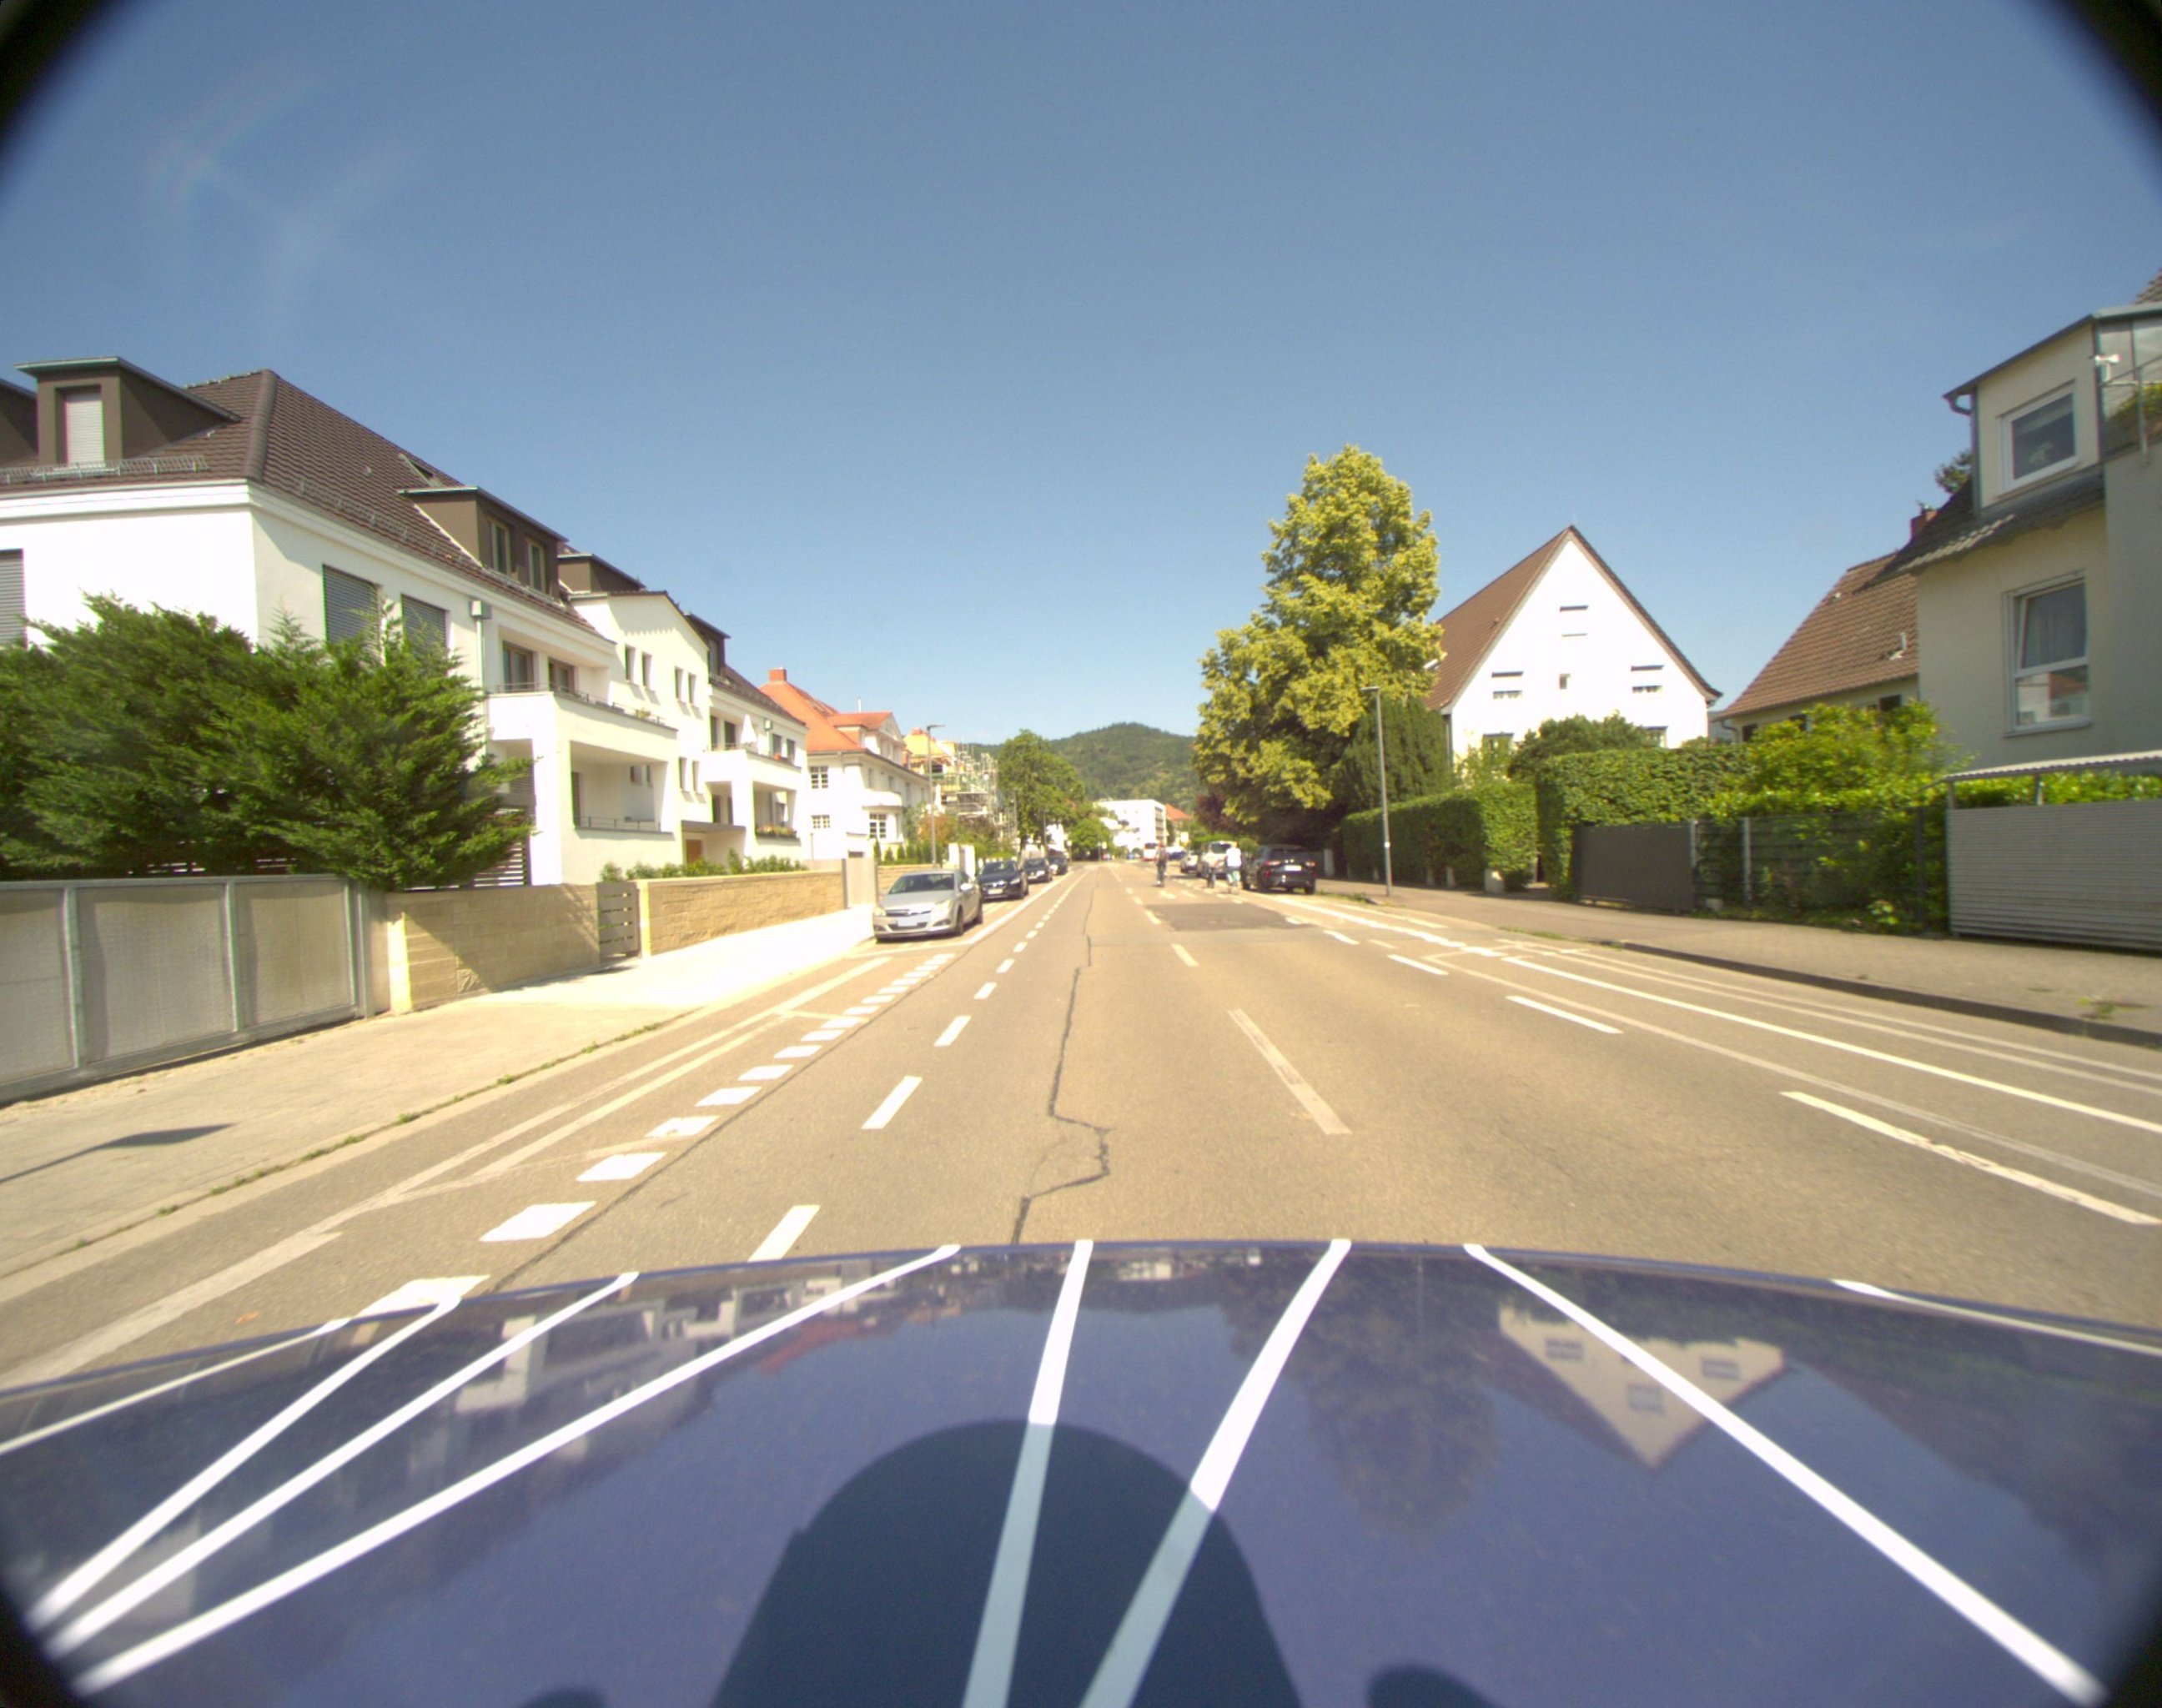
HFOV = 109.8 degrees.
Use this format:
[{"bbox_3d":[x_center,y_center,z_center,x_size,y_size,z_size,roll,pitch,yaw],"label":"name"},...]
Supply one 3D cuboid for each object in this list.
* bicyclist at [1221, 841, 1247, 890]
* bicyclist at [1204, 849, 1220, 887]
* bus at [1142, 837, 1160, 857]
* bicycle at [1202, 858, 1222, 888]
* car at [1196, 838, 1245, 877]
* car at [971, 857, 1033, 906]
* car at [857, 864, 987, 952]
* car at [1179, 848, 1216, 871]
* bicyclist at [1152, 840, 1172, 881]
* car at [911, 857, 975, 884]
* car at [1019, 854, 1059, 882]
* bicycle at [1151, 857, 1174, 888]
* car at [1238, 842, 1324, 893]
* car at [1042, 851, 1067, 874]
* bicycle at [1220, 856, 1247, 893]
[{"bbox_3d":[5.076,0.369,25.307,0.677,1.571,0.859,1,1,2],"label":"bicyclist"},{"bbox_3d":[5.118,0.537,29.703,0.491,1.445,0.964,0,1,2],"label":"bicyclist"},{"bbox_3d":[11.457,-1.101,124.017,2.751,3.156,9.781,0,1,5],"label":"bus"},{"bbox_3d":[5.121,0.726,29.760,0.602,1.099,1.346,0,1,2],"label":"bicycle"},{"bbox_3d":[7.253,0.187,39.855,1.889,1.908,4.869,0,0,3],"label":"car"},{"bbox_3d":[-2.839,0.943,28.181,1.726,1.441,4.168,-5,1,0],"label":"car"},{"bbox_3d":[-3.238,1.047,16.303,1.741,1.321,4.075,-6,2,1],"label":"car"},{"bbox_3d":[7.625,0.345,50.016,1.838,1.477,4.562,0,0,1],"label":"car"},{"bbox_3d":[3.327,0.258,31.290,0.751,1.658,1.022,0,1,2],"label":"bicyclist"},{"bbox_3d":[-9.850,1.167,54.327,4.173,1.574,1.701,-5,1,-1],"label":"car"},{"bbox_3d":[-2.373,0.790,44.161,1.622,1.441,4.001,-2,0,6],"label":"car"},{"bbox_3d":[3.358,0.743,31.420,0.784,1.159,2.420,0,1,2],"label":"bicycle"},{"bbox_3d":[6.859,0.403,26.555,1.855,1.601,4.447,2,1,1],"label":"car"},{"bbox_3d":[-1.994,0.638,58.165,1.701,1.573,4.900,-3,1,-1],"label":"car"},{"bbox_3d":[5.094,0.672,25.528,0.560,1.178,2.036,0,1,2],"label":"bicycle"}]
